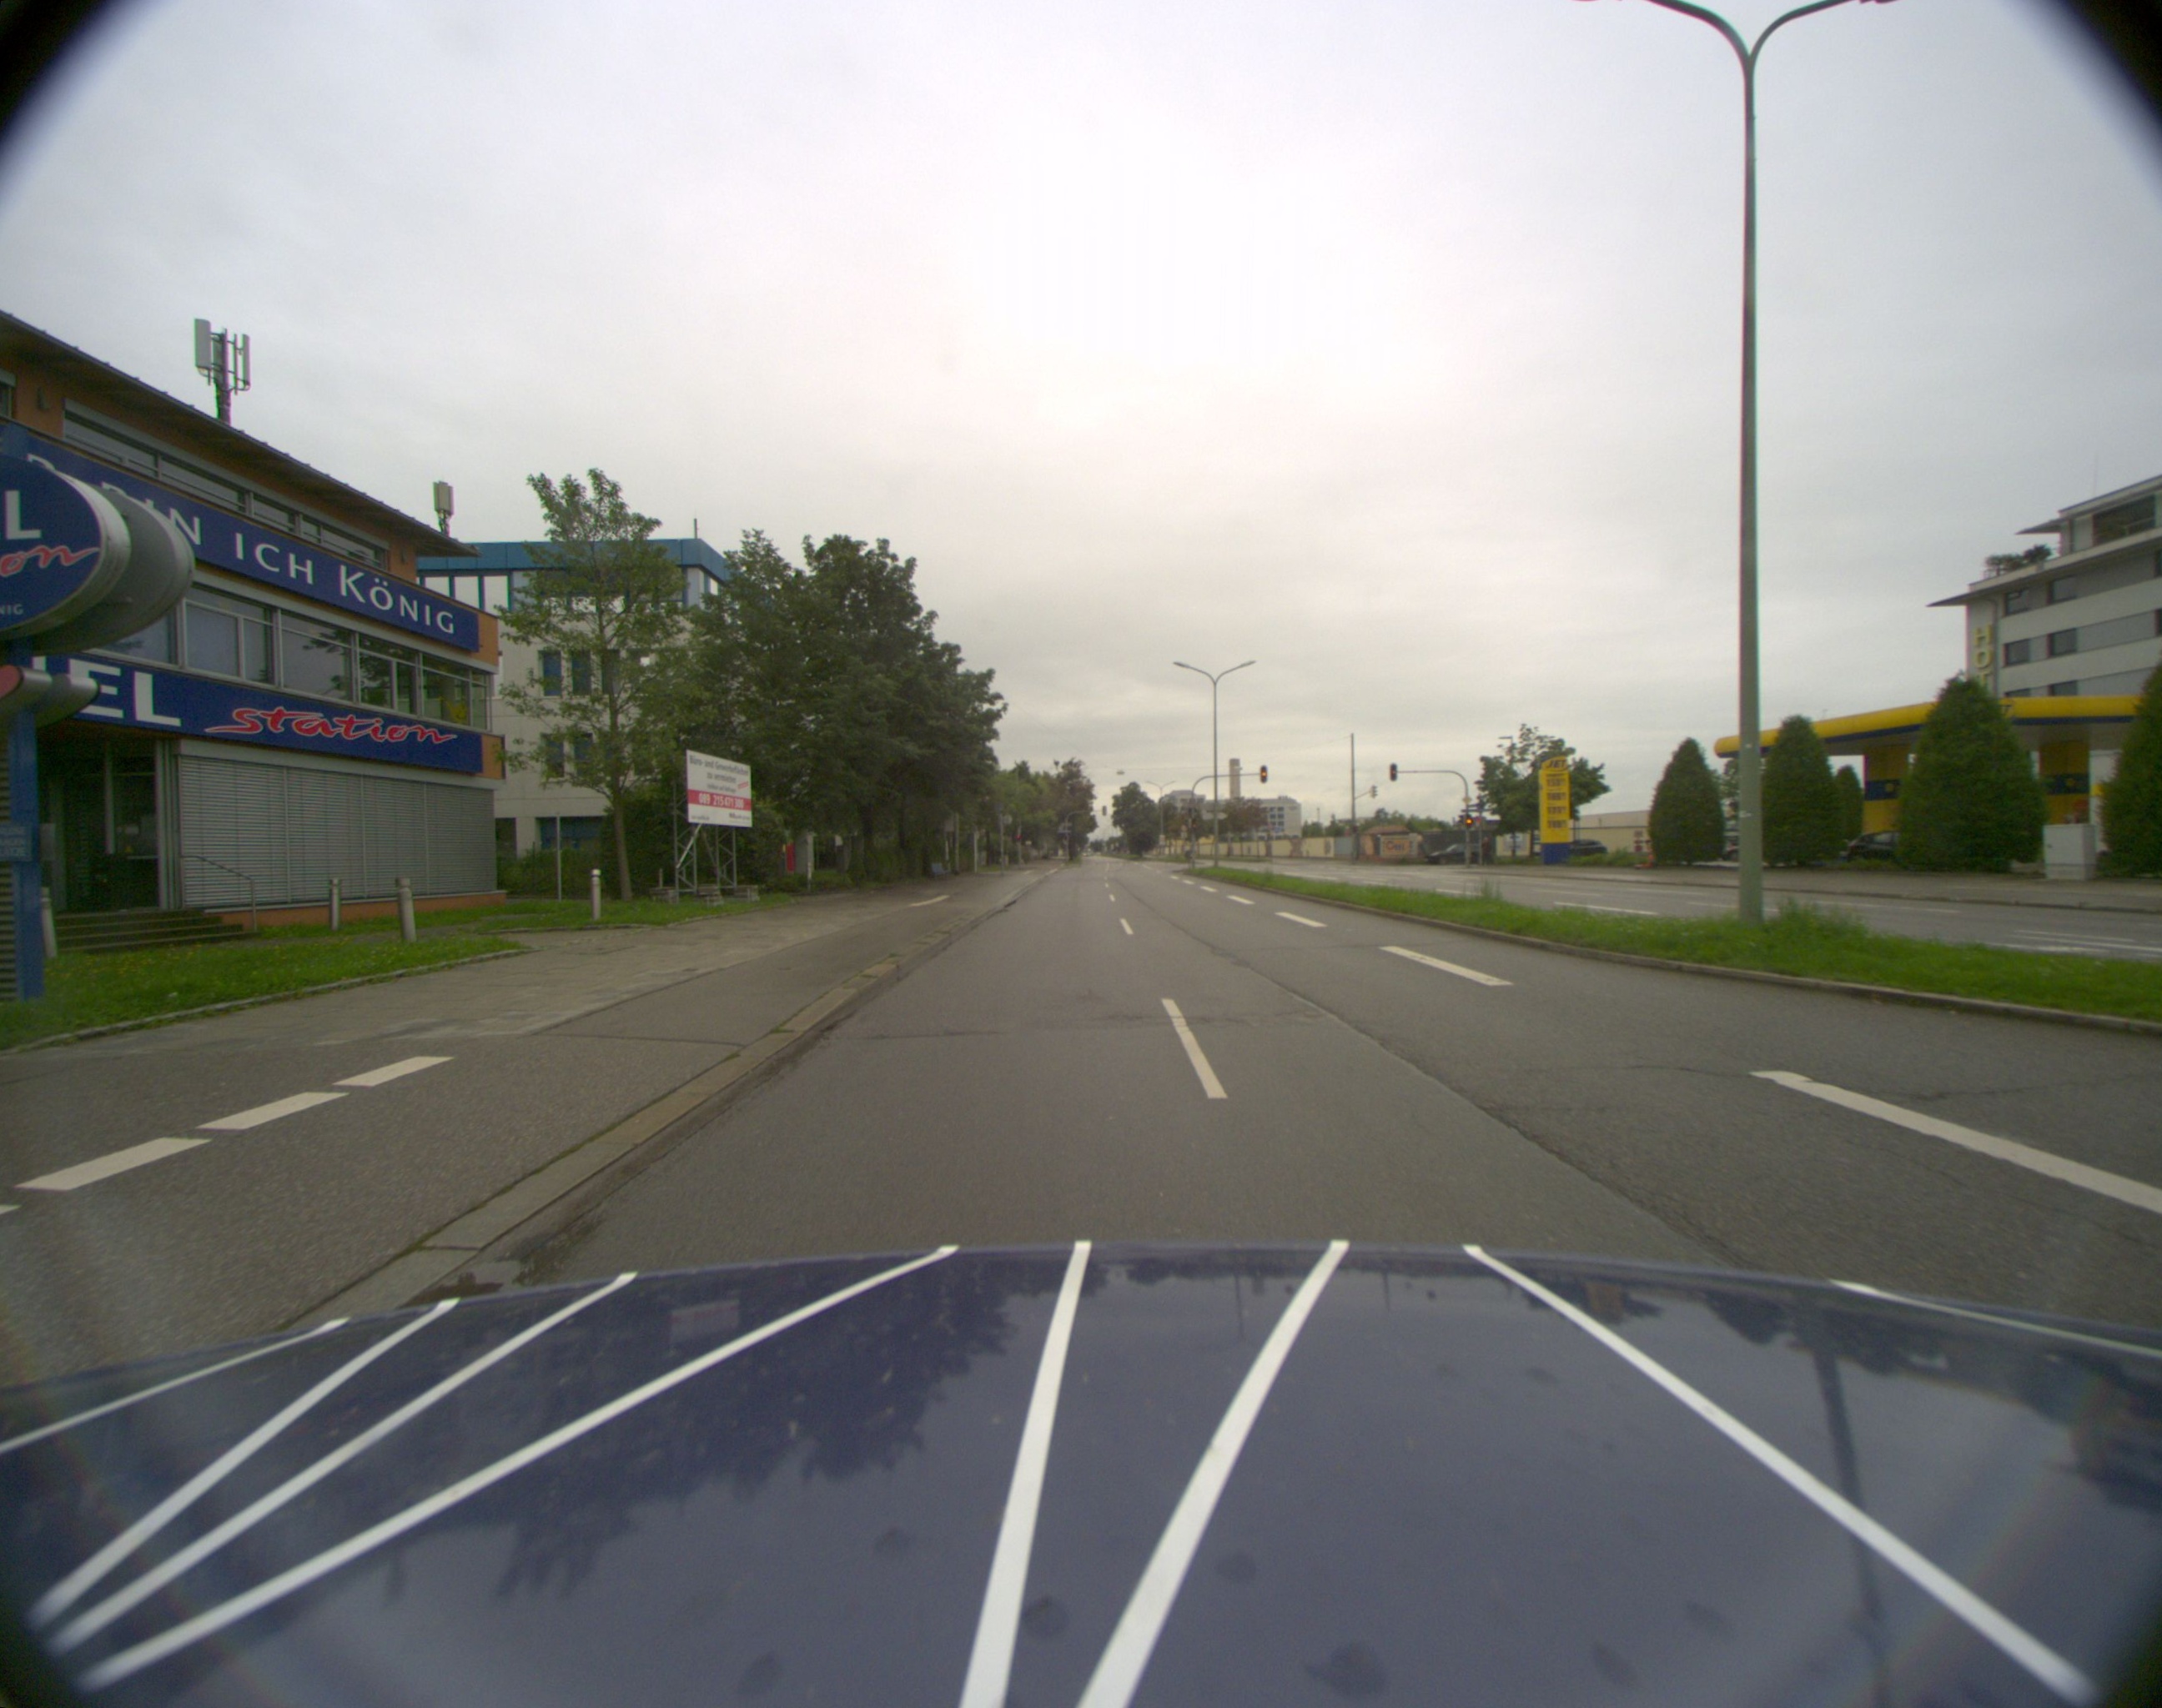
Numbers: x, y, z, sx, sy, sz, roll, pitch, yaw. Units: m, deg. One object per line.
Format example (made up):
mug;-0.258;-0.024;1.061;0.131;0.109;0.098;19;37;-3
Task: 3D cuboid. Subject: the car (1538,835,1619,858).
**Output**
car;36.634;-0.536;56.009;4.628;1.524;2.000;-2;1;3

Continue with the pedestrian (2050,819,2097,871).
pedestrian;32.855;-0.299;25.153;0.708;1.719;0.643;0;1;-4

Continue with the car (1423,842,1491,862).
car;28.841;-0.176;58.361;4.260;1.419;2.000;-2;0;3

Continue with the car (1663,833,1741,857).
car;39.488;-0.547;48.448;1.627;1.477;3.977;0;0;-2

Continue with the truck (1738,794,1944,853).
truck;55.248;-2.147;55.421;11.925;3.833;2.610;-2;1;3

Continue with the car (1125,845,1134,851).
car;12.458;-1.569;195.472;1.916;1.498;4.439;0;0;1

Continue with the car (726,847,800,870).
car;-20.514;0.282;49.038;4.167;1.410;1.872;0;1;17

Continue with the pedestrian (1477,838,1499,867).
pedestrian;23.231;-0.092;43.399;0.804;1.605;0.687;-3;1;0

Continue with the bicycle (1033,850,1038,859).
bicycle;-6.364;0.074;106.545;0.583;1.288;2.453;0;1;-2

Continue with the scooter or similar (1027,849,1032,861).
scooter or similar;-5.920;0.078;87.198;0.371;1.416;1.403;0;1;-15

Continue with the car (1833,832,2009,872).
car;29.655;-0.072;27.038;1.799;1.324;3.999;0;0;-1

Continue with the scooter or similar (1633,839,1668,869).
scooter or similar;24.079;0.000;32.145;0.356;1.235;1.546;-4;0;5

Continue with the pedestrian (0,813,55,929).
pedestrian;-16.126;0.246;11.353;0.662;1.702;0.660;0;1;1
